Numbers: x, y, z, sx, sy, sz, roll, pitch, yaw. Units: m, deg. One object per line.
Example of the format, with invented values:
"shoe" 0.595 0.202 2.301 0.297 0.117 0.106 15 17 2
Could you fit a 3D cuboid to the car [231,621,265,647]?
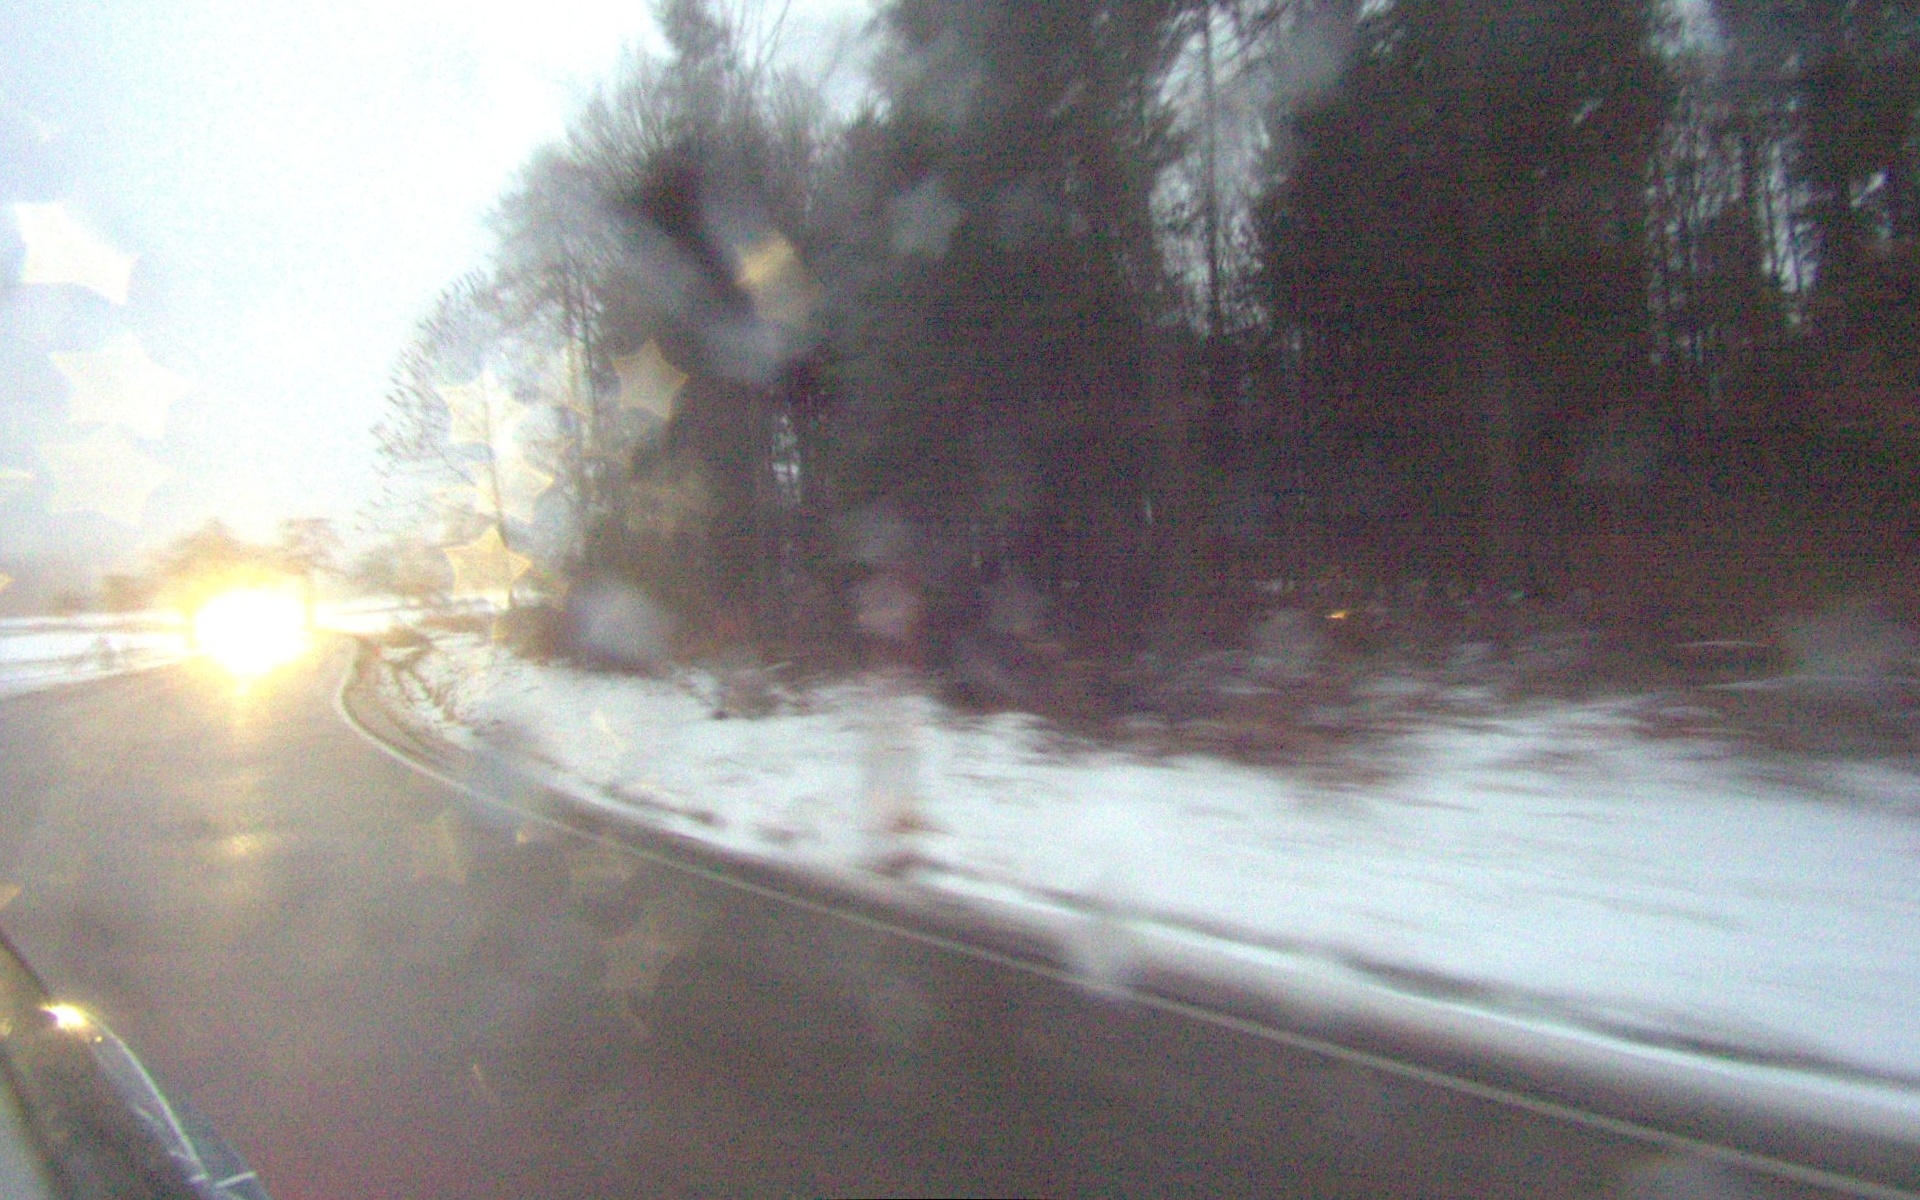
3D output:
"car" -64.588 3.069 91.744 1.970 2.028 4.005 -6 4 -41
